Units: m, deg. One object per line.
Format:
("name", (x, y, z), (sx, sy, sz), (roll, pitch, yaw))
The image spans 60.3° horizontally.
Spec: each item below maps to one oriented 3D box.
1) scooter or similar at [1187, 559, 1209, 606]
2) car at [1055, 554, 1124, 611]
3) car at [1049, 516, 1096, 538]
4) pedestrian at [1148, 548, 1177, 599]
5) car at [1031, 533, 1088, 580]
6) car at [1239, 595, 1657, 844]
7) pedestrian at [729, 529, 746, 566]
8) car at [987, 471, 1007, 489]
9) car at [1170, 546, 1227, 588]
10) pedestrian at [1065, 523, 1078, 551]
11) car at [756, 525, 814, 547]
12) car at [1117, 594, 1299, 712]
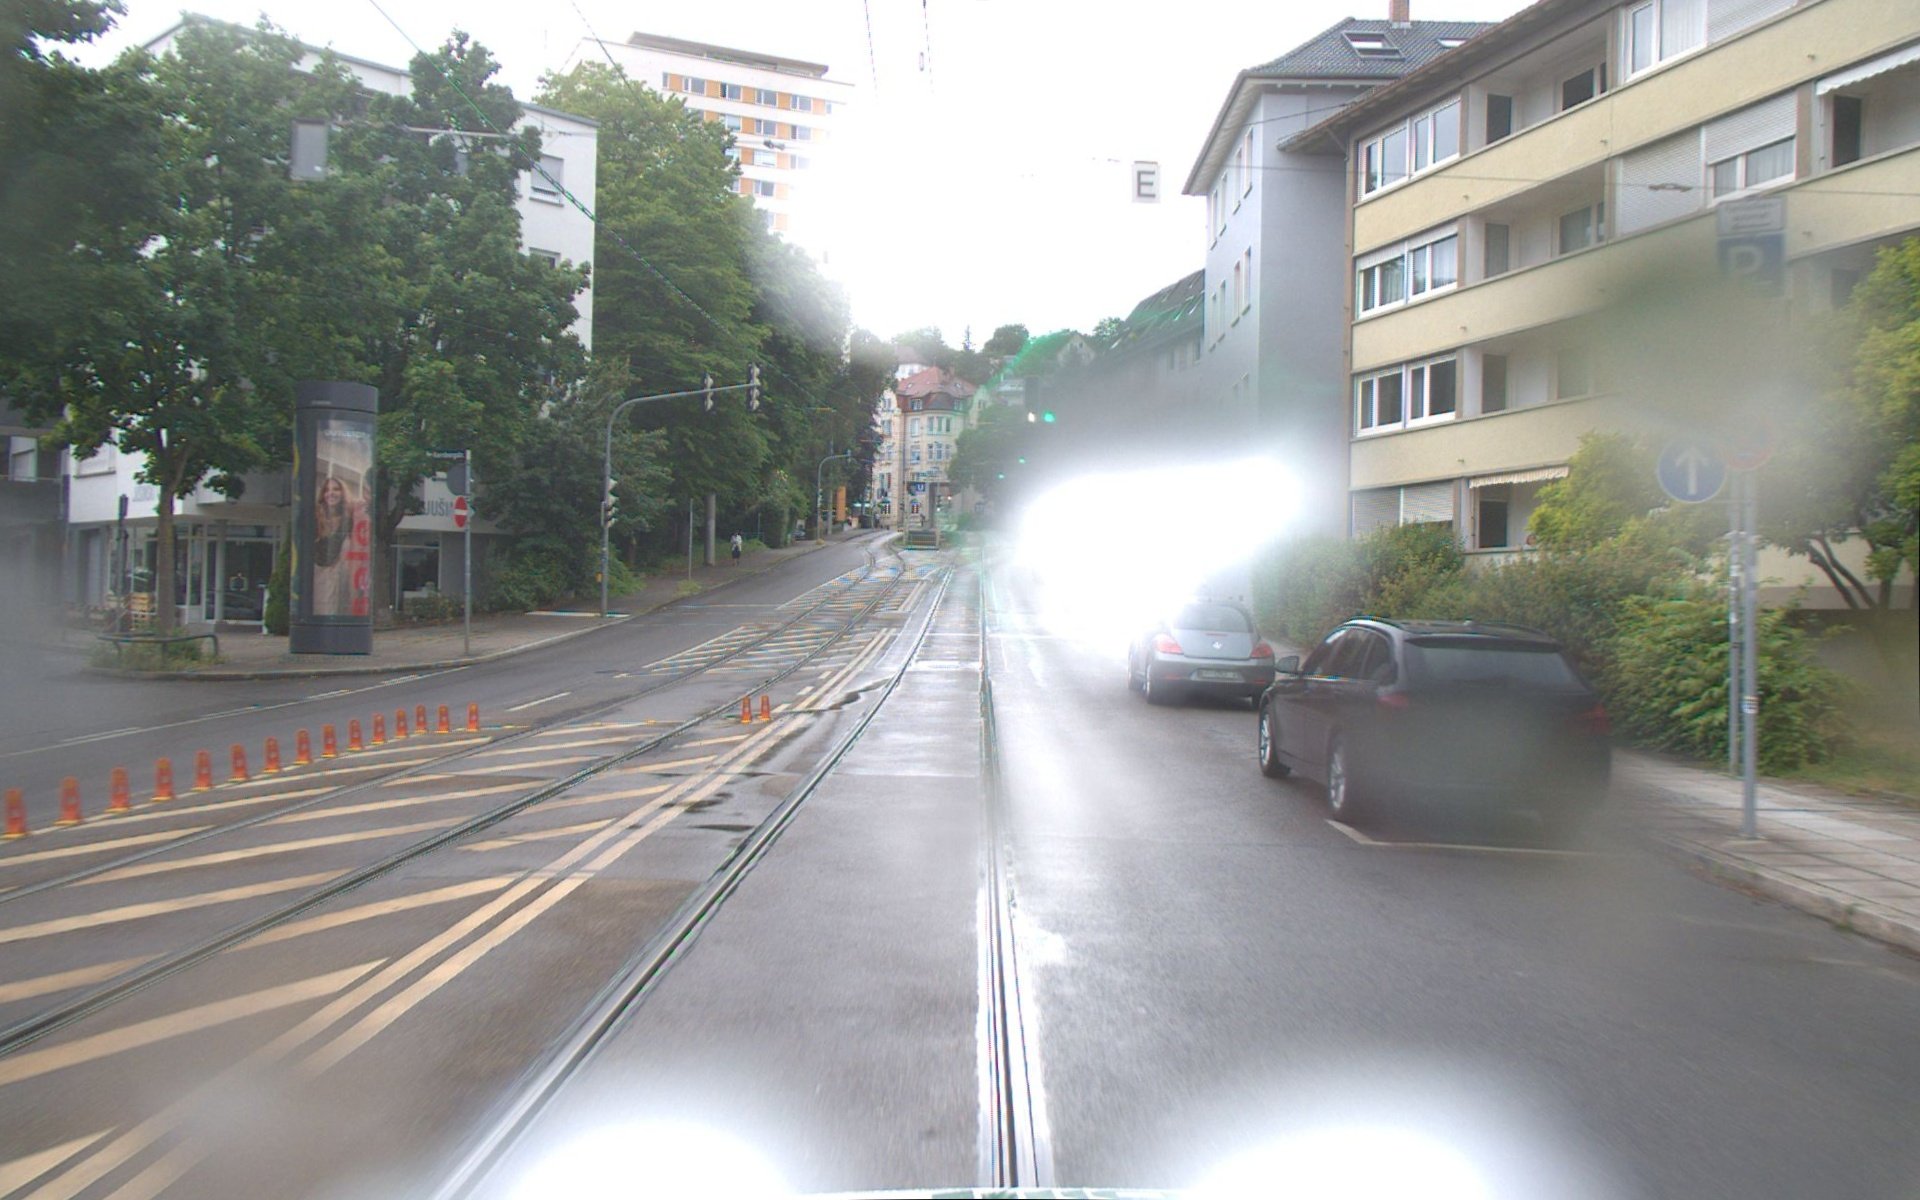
("scooter or similar", (7.167, -0.544, 49.851), (0.562, 1.270, 1.612), (2, 5, 6))
("car", (3.810, -0.548, 49.186), (1.670, 1.458, 4.102), (2, 3, 0))
("car", (9.666, -6.274, 142.125), (3.905, 1.674, 1.808), (2, 1, 0))
("pedestrian", (6.570, -0.858, 53.794), (0.864, 1.610, 0.802), (0, 4, 2))
("car", (3.900, -1.743, 65.498), (1.867, 1.670, 4.690), (3, 3, 0))
("car", (3.537, 0.764, 12.981), (1.820, 1.513, 4.644), (2, 0, -1))
("pedestrian", (-9.991, -2.379, 74.327), (0.571, 1.627, 0.869), (3, 2, -3))
("car", (3.807, -12.279, 169.232), (1.867, 1.670, 4.690), (3, 3, 0))
("car", (9.794, -1.327, 68.183), (1.685, 1.541, 4.203), (2, -1, 0))
("pedestrian", (6.684, -3.784, 99.270), (0.630, 1.657, 0.700), (2, 1, 9))
("car", (-12.872, -4.708, 121.451), (3.907, 1.430, 1.682), (2, -1, 23))
("car", (3.526, 0.708, 24.292), (1.900, 1.489, 4.205), (2, 0, -2))
